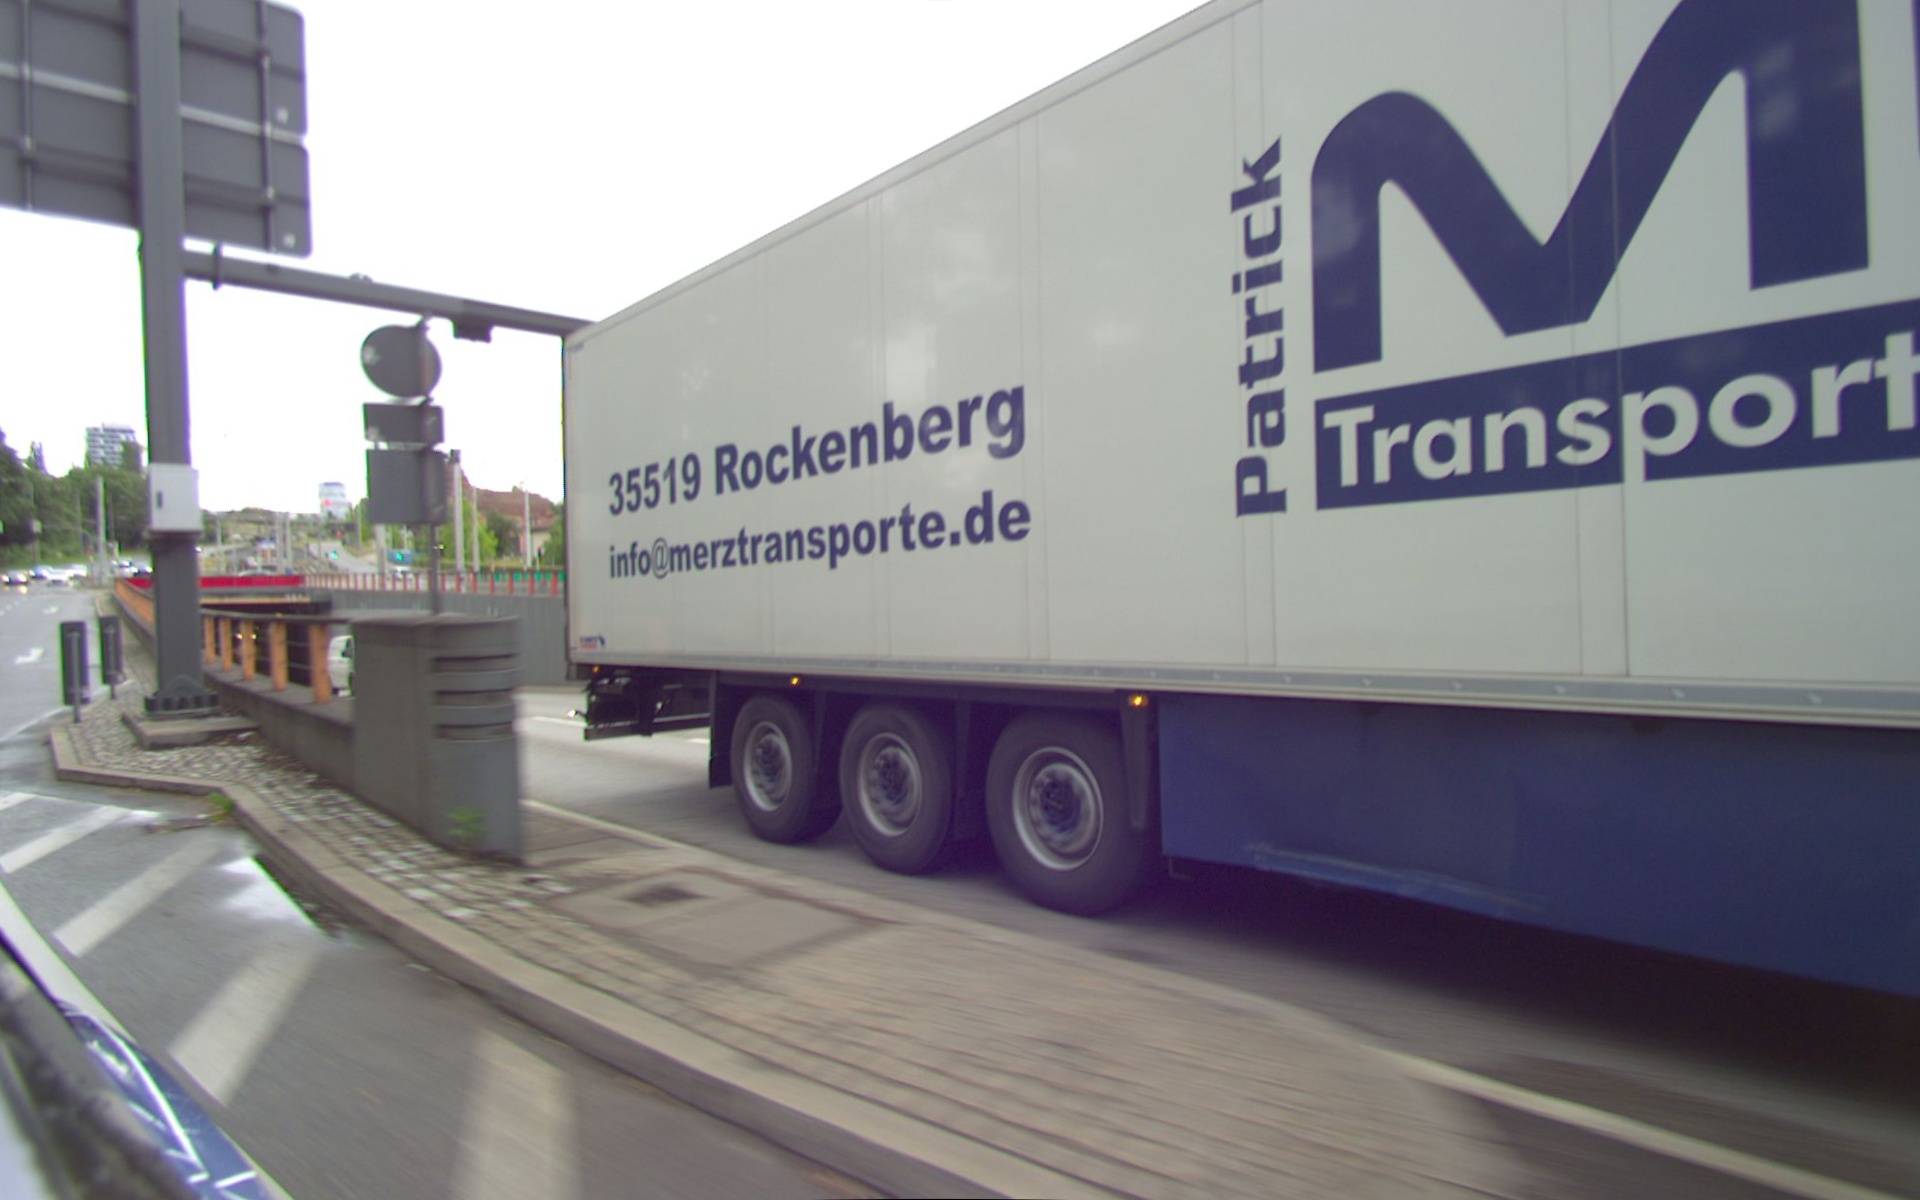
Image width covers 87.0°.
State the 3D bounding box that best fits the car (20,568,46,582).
[{"bbox_3d":[-105.718,-2.822,115.426,1.861,1.482,4.016,-2,1,-39],"label":"car"}]

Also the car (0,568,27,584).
[{"bbox_3d":[-93.741,-2.392,100.123,1.861,1.482,4.016,-2,1,-39],"label":"car"}]

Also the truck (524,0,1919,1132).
[{"bbox_3d":[1.556,-0.808,5.378,2.730,4.228,13.041,0,0,-44],"label":"truck"}]

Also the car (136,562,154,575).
[{"bbox_3d":[-104.039,-4.031,129.186,1.775,1.482,4.008,-2,4,-40],"label":"car"}]

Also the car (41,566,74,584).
[{"bbox_3d":[-89.297,-2.502,100.133,1.710,1.599,4.013,-1,4,-32],"label":"car"}]

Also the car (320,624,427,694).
[{"bbox_3d":[-19.082,1.890,32.816,1.970,2.042,4.690,-2,-1,-43],"label":"car"}]

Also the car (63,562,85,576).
[{"bbox_3d":[-102.287,-3.609,116.876,1.775,1.523,4.006,-2,1,-41],"label":"car"}]

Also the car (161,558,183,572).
[{"bbox_3d":[-97.657,-4.372,125.493,1.710,1.599,4.013,-1,4,-32],"label":"car"}]

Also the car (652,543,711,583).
[{"bbox_3d":[-20.991,-2.772,76.133,1.969,2.853,5.726,0,2,-41],"label":"car"}]

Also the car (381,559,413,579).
[{"bbox_3d":[-64.954,-3.582,116.735,3.998,2.028,1.973,5,5,40],"label":"car"}]
